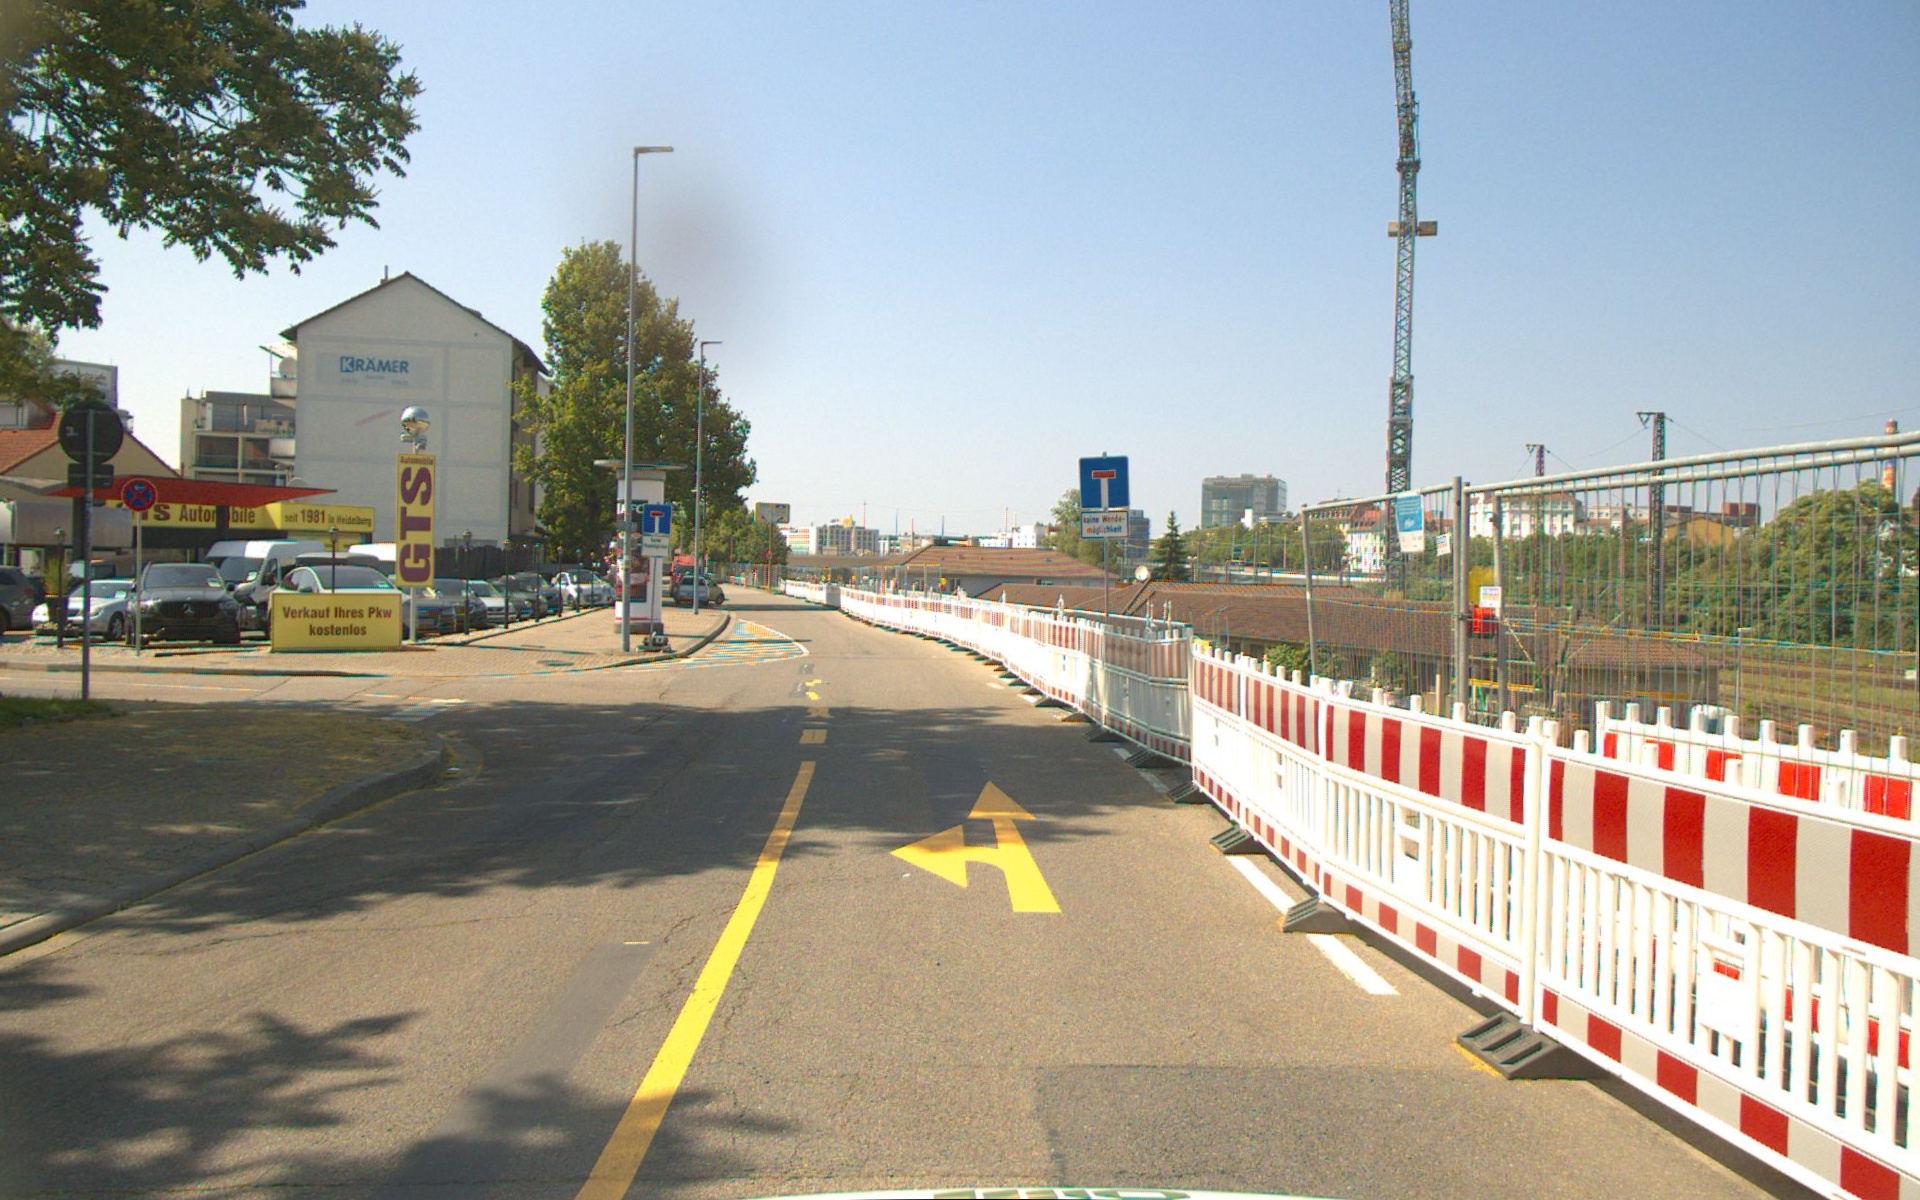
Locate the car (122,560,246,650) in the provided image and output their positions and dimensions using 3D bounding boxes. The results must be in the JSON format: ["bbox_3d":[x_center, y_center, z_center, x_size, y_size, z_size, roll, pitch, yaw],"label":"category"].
[{"bbox_3d":[-16.016,0.123,34.013,2.021,1.737,4.272,0,-1,-29],"label":"car"}]

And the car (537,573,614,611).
[{"bbox_3d":[-16.056,-0.338,68.909,1.762,1.498,3.951,-2,1,-35],"label":"car"}]

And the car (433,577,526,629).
[{"bbox_3d":[-15.152,0.084,52.061,1.763,1.498,3.955,-3,1,-33],"label":"car"}]

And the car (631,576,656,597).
[{"bbox_3d":[-30.569,-1.312,159.793,1.899,1.866,3.920,4,-1,-5],"label":"car"}]

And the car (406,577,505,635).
[{"bbox_3d":[-14.276,0.136,46.647,1.817,1.498,3.960,-2,1,-30],"label":"car"}]

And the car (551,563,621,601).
[{"bbox_3d":[-21.680,-1.042,95.752,3.857,1.993,1.752,2,0,-15],"label":"car"}]

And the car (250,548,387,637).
[{"bbox_3d":[-18.134,-0.187,47.013,2.201,2.391,4.820,0,-1,-3],"label":"car"}]

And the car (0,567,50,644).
[{"bbox_3d":[-24.882,0.125,39.792,2.127,1.874,4.857,1,1,45],"label":"car"}]

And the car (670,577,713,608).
[{"bbox_3d":[-13.730,-0.405,84.737,1.832,1.524,4.028,0,2,-4],"label":"car"}]

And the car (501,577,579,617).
[{"bbox_3d":[-16.599,-0.131,65.272,1.653,1.498,3.951,-2,1,-35],"label":"car"}]

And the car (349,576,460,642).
[{"bbox_3d":[-13.844,0.202,41.109,1.817,1.498,3.959,-2,1,-30],"label":"car"}]

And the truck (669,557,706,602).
[{"bbox_3d":[-17.066,-1.235,103.863,2.196,2.694,5.670,1,0,-9],"label":"truck"}]

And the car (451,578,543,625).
[{"bbox_3d":[-15.735,0.037,56.144,1.655,1.498,3.946,-2,2,-37],"label":"car"}]

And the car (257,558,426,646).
[{"bbox_3d":[-13.663,0.071,36.385,1.965,1.736,4.593,-1,-1,-41],"label":"car"}]

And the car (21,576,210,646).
[{"bbox_3d":[-20.674,0.216,40.743,1.868,1.602,4.690,1,1,6],"label":"car"}]

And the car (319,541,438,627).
[{"bbox_3d":[-18.655,-0.473,53.337,2.203,2.472,5.711,4,-1,-6],"label":"car"}]

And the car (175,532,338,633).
[{"bbox_3d":[-20.893,-0.483,49.451,2.230,2.806,6.152,0,0,0],"label":"car"}]

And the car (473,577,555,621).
[{"bbox_3d":[-16.398,-0.049,60.685,1.653,1.498,3.951,-2,1,-35],"label":"car"}]
